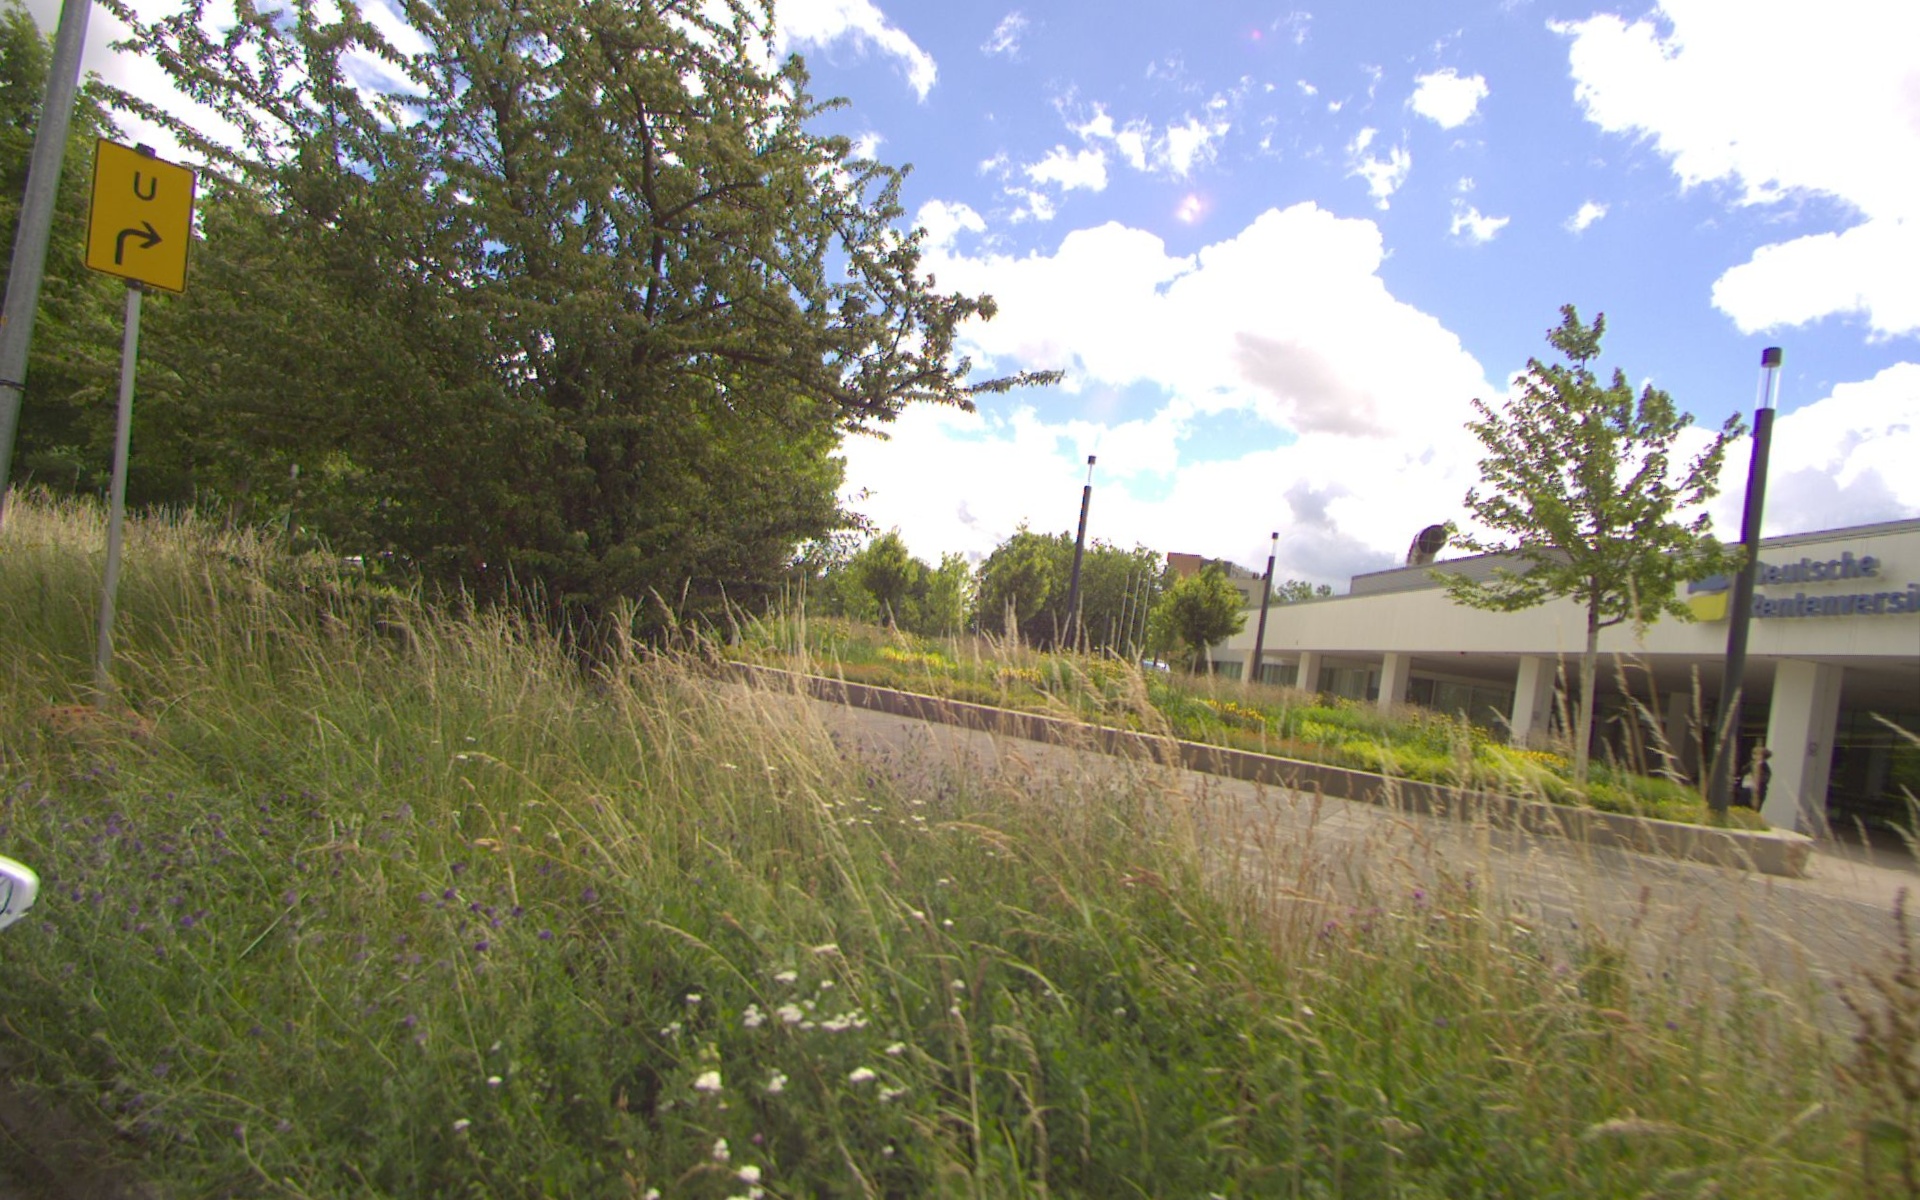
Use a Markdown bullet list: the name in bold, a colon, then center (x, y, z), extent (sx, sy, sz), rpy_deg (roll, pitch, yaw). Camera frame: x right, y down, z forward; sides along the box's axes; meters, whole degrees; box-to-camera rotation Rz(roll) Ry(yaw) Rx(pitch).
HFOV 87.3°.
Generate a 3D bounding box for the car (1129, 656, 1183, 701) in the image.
- **car**: center (12.850, 5.107, 66.194), extent (2.406, 2.501, 4.793), rpy_deg (9, -2, 2)

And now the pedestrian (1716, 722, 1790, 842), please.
- **pedestrian**: center (14.558, 3.325, 18.466), extent (0.685, 2.037, 0.606), rpy_deg (8, -1, -18)
